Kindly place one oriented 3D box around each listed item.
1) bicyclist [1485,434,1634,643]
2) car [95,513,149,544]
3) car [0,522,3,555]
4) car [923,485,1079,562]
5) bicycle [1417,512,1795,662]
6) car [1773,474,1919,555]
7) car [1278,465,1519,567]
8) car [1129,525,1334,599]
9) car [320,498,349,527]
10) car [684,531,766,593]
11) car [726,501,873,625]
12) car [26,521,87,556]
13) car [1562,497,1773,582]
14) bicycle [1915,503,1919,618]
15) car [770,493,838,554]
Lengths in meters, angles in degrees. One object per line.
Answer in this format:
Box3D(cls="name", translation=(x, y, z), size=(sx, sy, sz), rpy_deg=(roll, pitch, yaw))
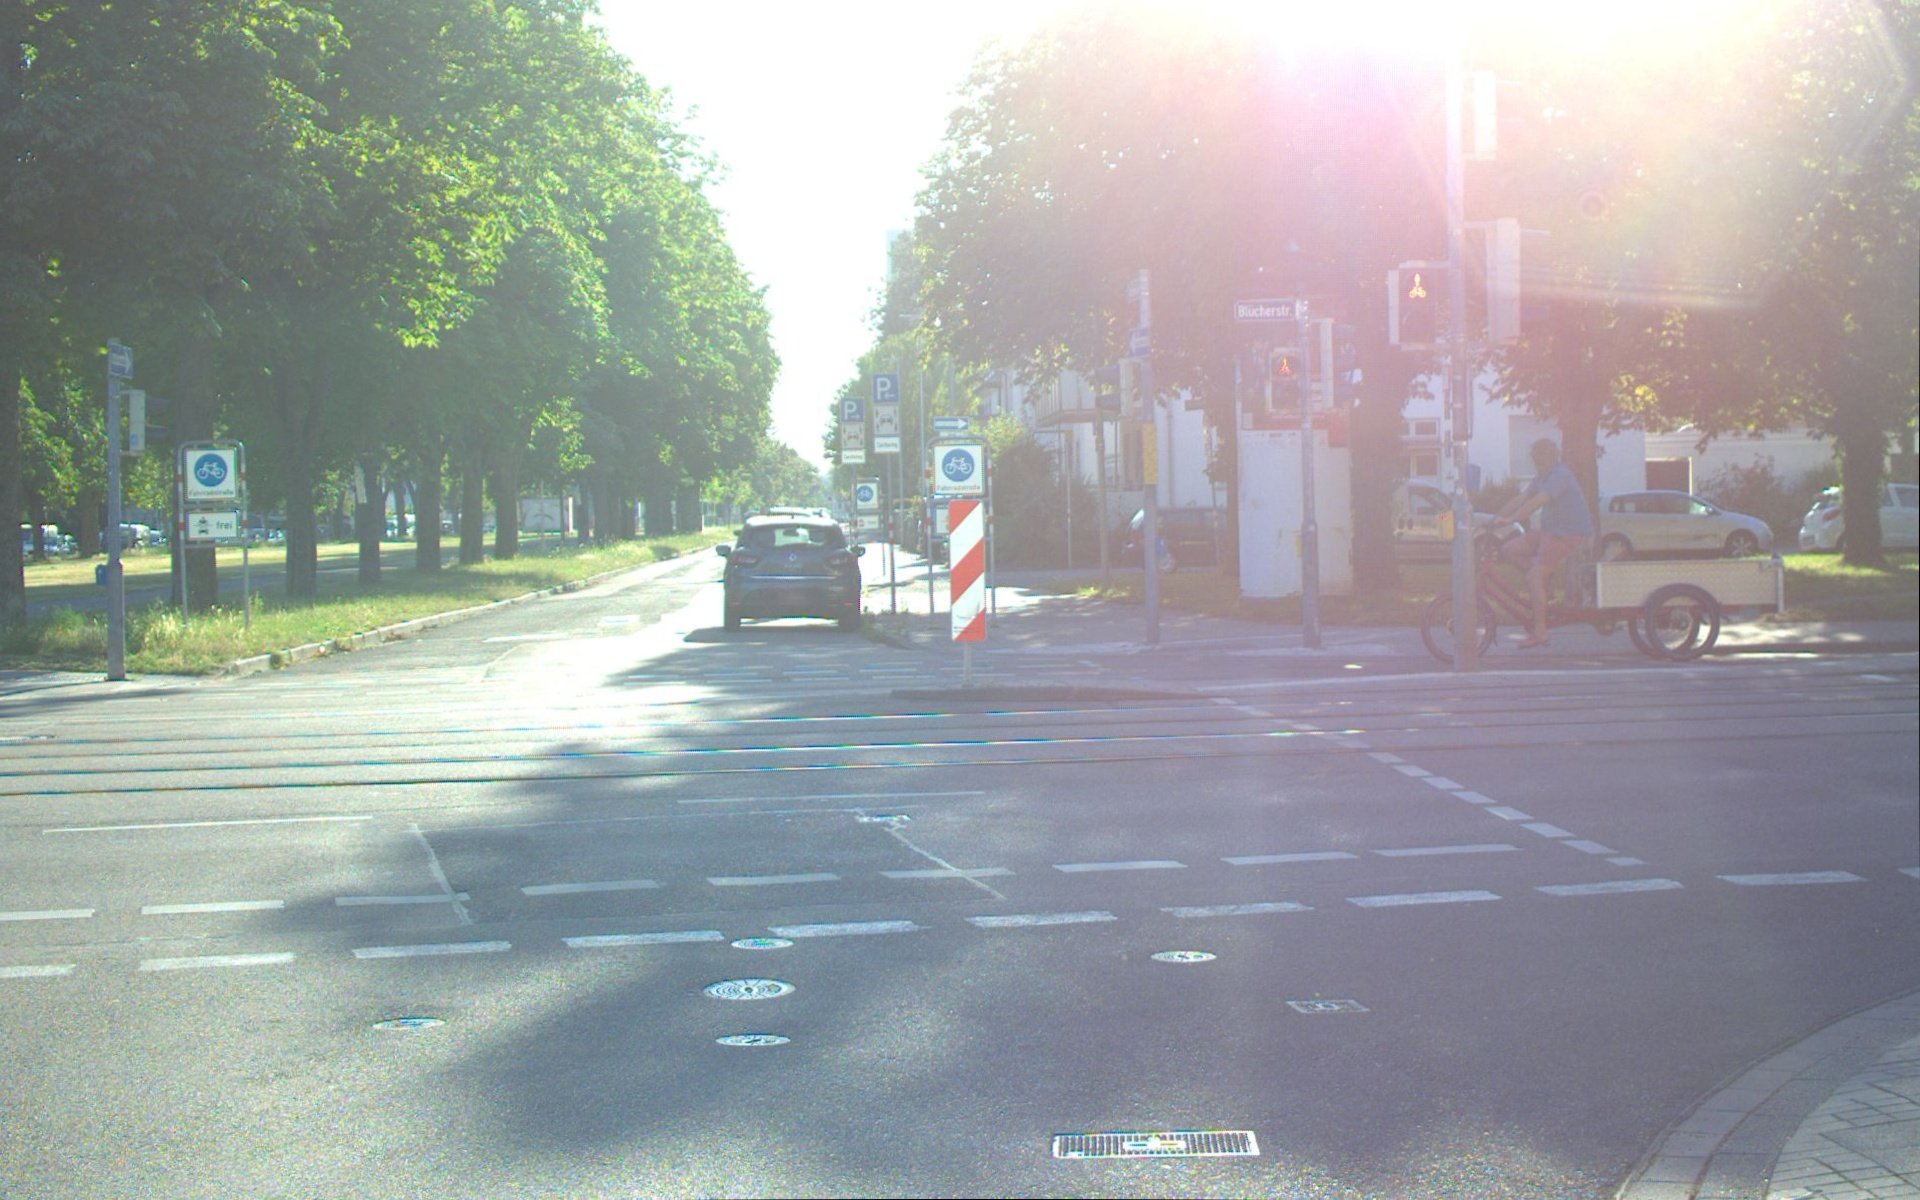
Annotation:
Box3D(cls="bicyclist", translation=(5.113, -0.522, 29.397), size=(1.145, 1.717, 0.875), rpy_deg=(-2, 1, 6))
Box3D(cls="car", translation=(-45.531, -3.888, 186.917), size=(1.993, 1.653, 4.571), rpy_deg=(-1, 1, -3))
Box3D(cls="car", translation=(-49.670, -3.125, 172.702), size=(1.993, 1.653, 4.355), rpy_deg=(1, 1, -1))
Box3D(cls="car", translation=(1.092, -2.078, 93.602), size=(3.986, 1.816, 1.760), rpy_deg=(-2, -4, -6))
Box3D(cls="bicycle", translation=(5.484, -0.112, 29.356), size=(3.074, 1.157, 0.875), rpy_deg=(-2, 1, 6))
Box3D(cls="car", translation=(17.764, -1.634, 65.975), size=(3.920, 1.518, 1.524), rpy_deg=(0, 0, -7))
Box3D(cls="car", translation=(8.320, -1.580, 65.478), size=(4.241, 1.868, 2.031), rpy_deg=(-1, 1, -2))
Box3D(cls="car", translation=(5.558, -0.778, 70.605), size=(3.986, 1.442, 1.716), rpy_deg=(-1, 1, -2))
Box3D(cls="car", translation=(-46.199, -6.457, 253.999), size=(1.654, 1.932, 3.568), rpy_deg=(1, -1, -3))
Box3D(cls="car", translation=(-5.330, -0.863, 78.254), size=(1.709, 1.355, 4.203), rpy_deg=(1, 1, -2))
Box3D(cls="car", translation=(-2.032, -0.483, 44.598), size=(1.725, 1.506, 4.541), rpy_deg=(1, 1, -1))
Box3D(cls="car", translation=(-44.005, -3.006, 167.539), size=(2.022, 1.653, 3.984), rpy_deg=(1, 1, -2))
Box3D(cls="car", translation=(13.406, -1.146, 65.231), size=(3.552, 1.510, 1.606), rpy_deg=(-1, 1, -8))
Box3D(cls="bicycle", translation=(9.936, -0.382, 32.801), size=(1.522, 1.085, 0.467), rpy_deg=(-1, 4, 8))
Box3D(cls="car", translation=(-4.725, -2.340, 103.725), size=(1.993, 1.775, 4.001), rpy_deg=(1, 2, -3))
